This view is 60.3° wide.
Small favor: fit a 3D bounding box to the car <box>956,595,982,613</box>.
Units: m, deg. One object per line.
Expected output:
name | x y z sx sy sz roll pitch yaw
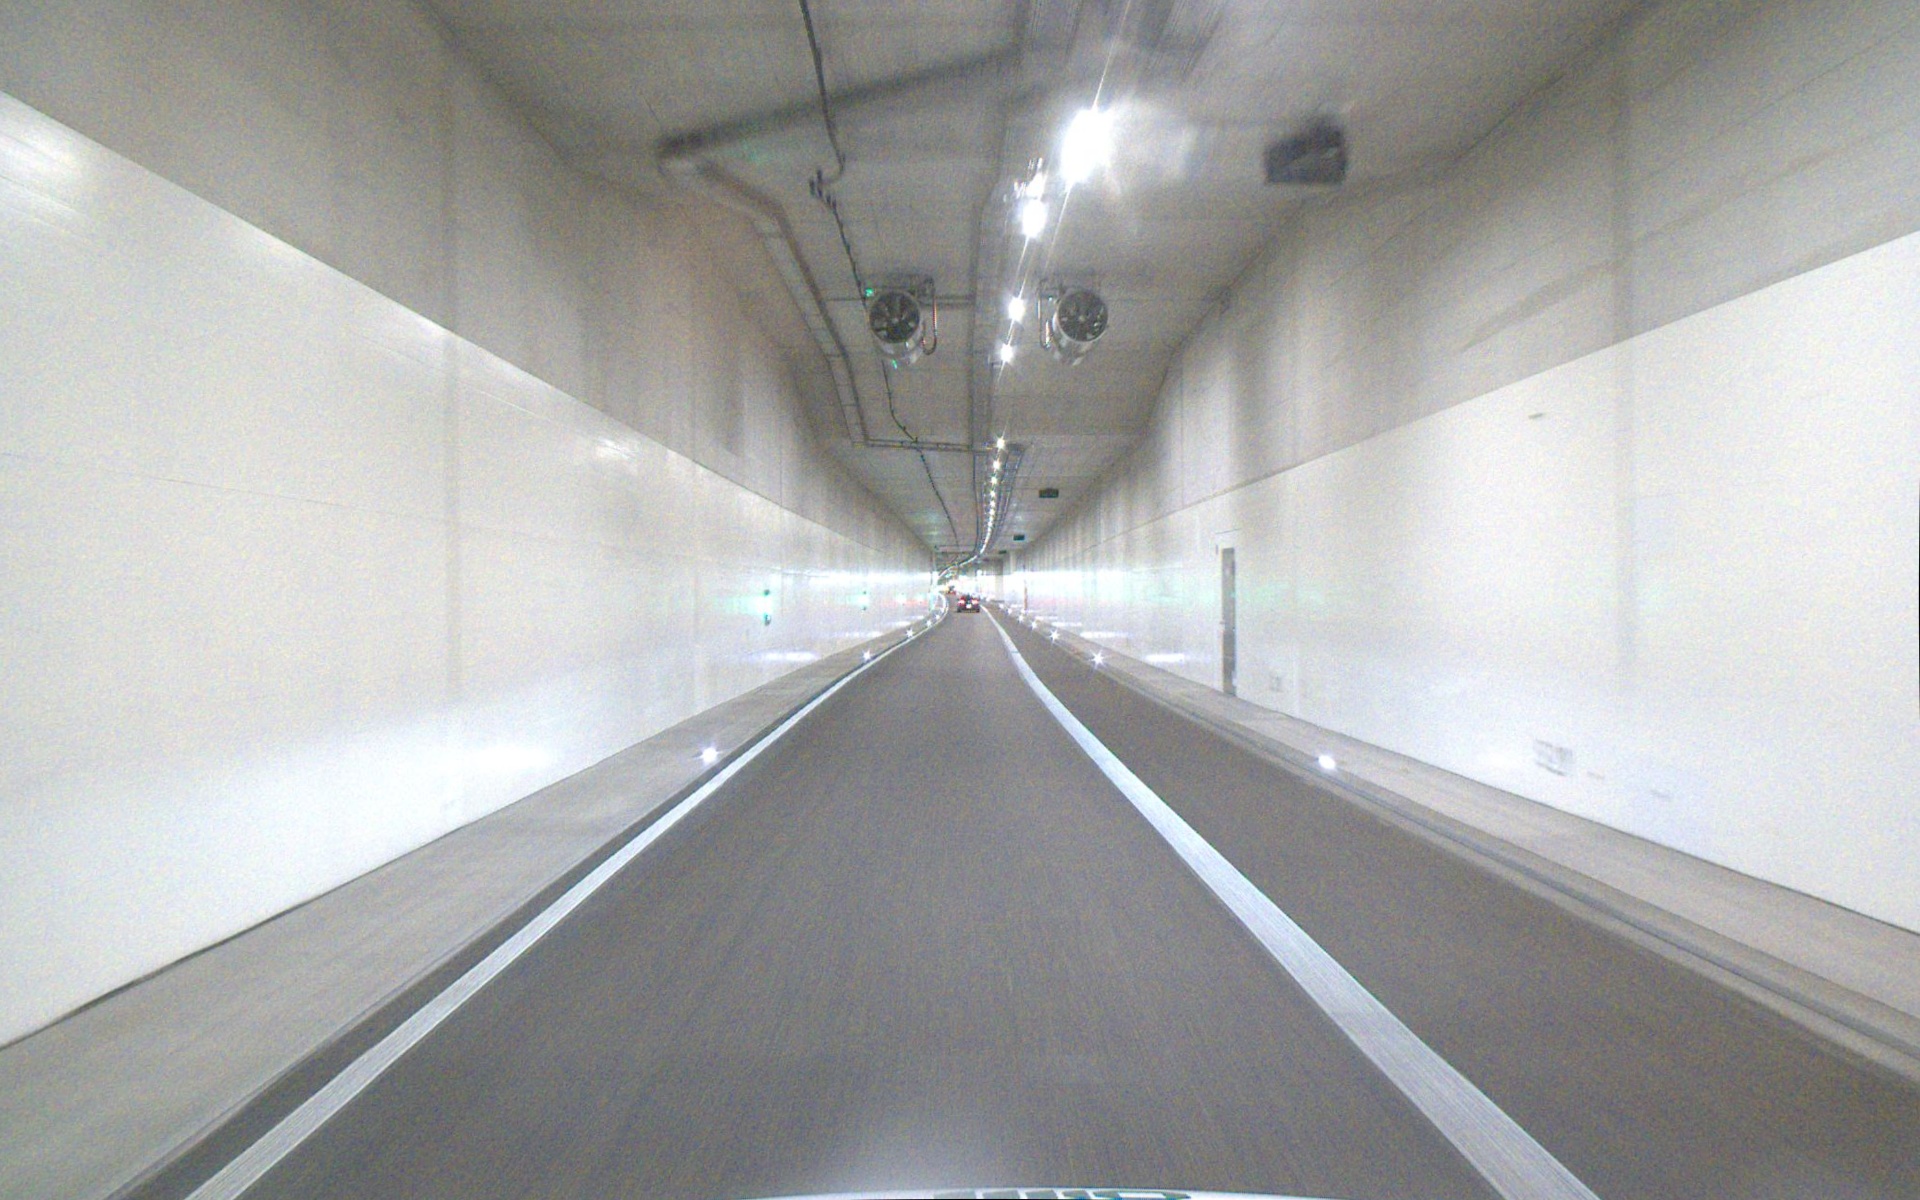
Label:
car | 0.726 0.307 136.063 1.953 1.445 3.999 0 0 -2
